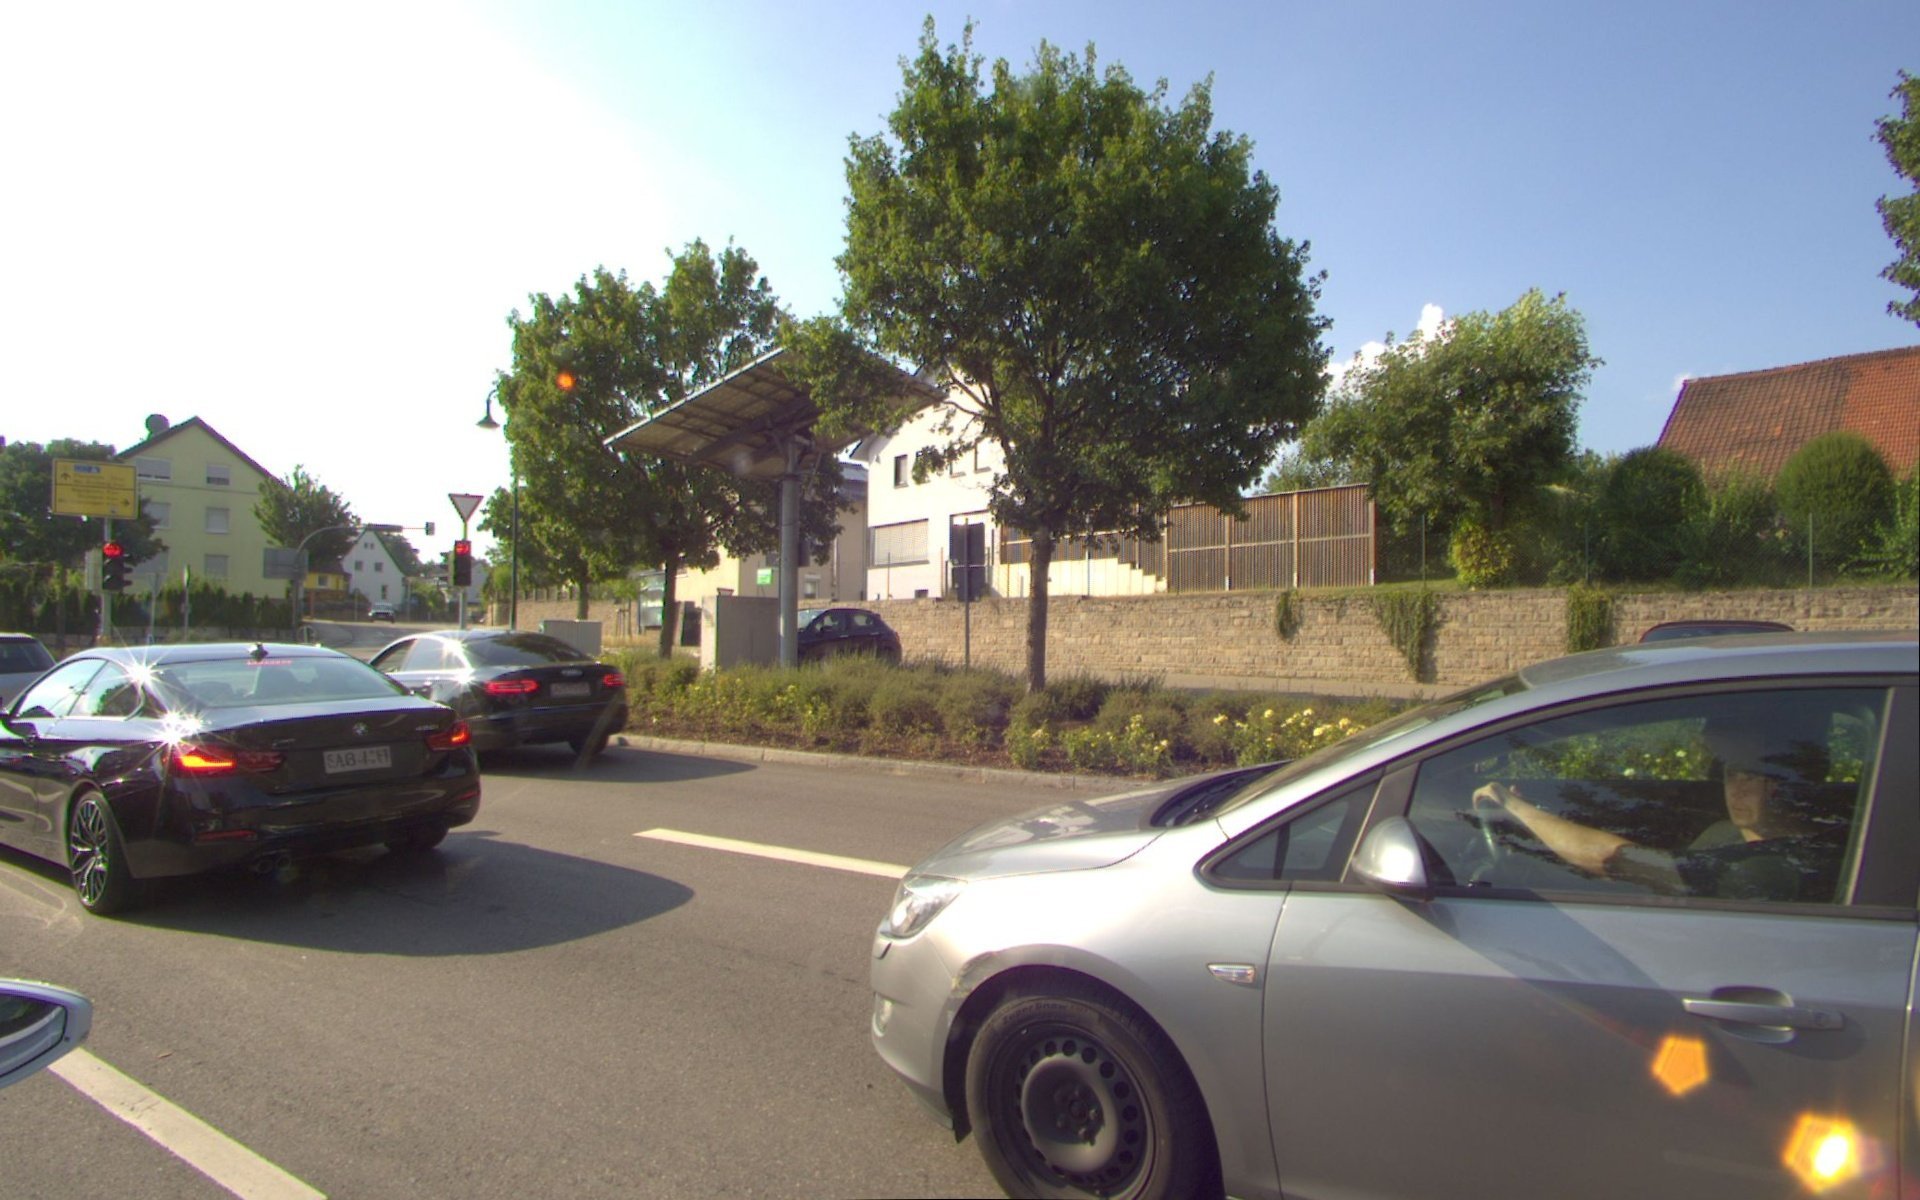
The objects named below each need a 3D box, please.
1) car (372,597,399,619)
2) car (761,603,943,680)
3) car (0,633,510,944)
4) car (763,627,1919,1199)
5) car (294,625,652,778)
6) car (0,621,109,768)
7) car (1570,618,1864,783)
[{"bbox_3d":[-45.447,0.637,79.227,1.766,1.527,4.046,1,2,-29],"label":"car"},{"bbox_3d":[-2.435,0.951,23.249,1.835,1.628,3.964,-1,-2,45],"label":"car"},{"bbox_3d":[-5.032,0.932,6.576,4.287,1.406,1.812,-1,-2,34],"label":"car"},{"bbox_3d":[1.635,0.803,2.504,4.107,1.460,1.741,-1,-2,32],"label":"car"},{"bbox_3d":[-5.694,1.021,11.505,4.526,1.454,1.677,-1,-2,34],"label":"car"},{"bbox_3d":[-11.349,0.967,11.114,4.287,1.465,1.812,-1,-2,34],"label":"car"},{"bbox_3d":[7.609,0.858,9.917,1.835,1.288,3.964,-1,-2,44],"label":"car"}]
